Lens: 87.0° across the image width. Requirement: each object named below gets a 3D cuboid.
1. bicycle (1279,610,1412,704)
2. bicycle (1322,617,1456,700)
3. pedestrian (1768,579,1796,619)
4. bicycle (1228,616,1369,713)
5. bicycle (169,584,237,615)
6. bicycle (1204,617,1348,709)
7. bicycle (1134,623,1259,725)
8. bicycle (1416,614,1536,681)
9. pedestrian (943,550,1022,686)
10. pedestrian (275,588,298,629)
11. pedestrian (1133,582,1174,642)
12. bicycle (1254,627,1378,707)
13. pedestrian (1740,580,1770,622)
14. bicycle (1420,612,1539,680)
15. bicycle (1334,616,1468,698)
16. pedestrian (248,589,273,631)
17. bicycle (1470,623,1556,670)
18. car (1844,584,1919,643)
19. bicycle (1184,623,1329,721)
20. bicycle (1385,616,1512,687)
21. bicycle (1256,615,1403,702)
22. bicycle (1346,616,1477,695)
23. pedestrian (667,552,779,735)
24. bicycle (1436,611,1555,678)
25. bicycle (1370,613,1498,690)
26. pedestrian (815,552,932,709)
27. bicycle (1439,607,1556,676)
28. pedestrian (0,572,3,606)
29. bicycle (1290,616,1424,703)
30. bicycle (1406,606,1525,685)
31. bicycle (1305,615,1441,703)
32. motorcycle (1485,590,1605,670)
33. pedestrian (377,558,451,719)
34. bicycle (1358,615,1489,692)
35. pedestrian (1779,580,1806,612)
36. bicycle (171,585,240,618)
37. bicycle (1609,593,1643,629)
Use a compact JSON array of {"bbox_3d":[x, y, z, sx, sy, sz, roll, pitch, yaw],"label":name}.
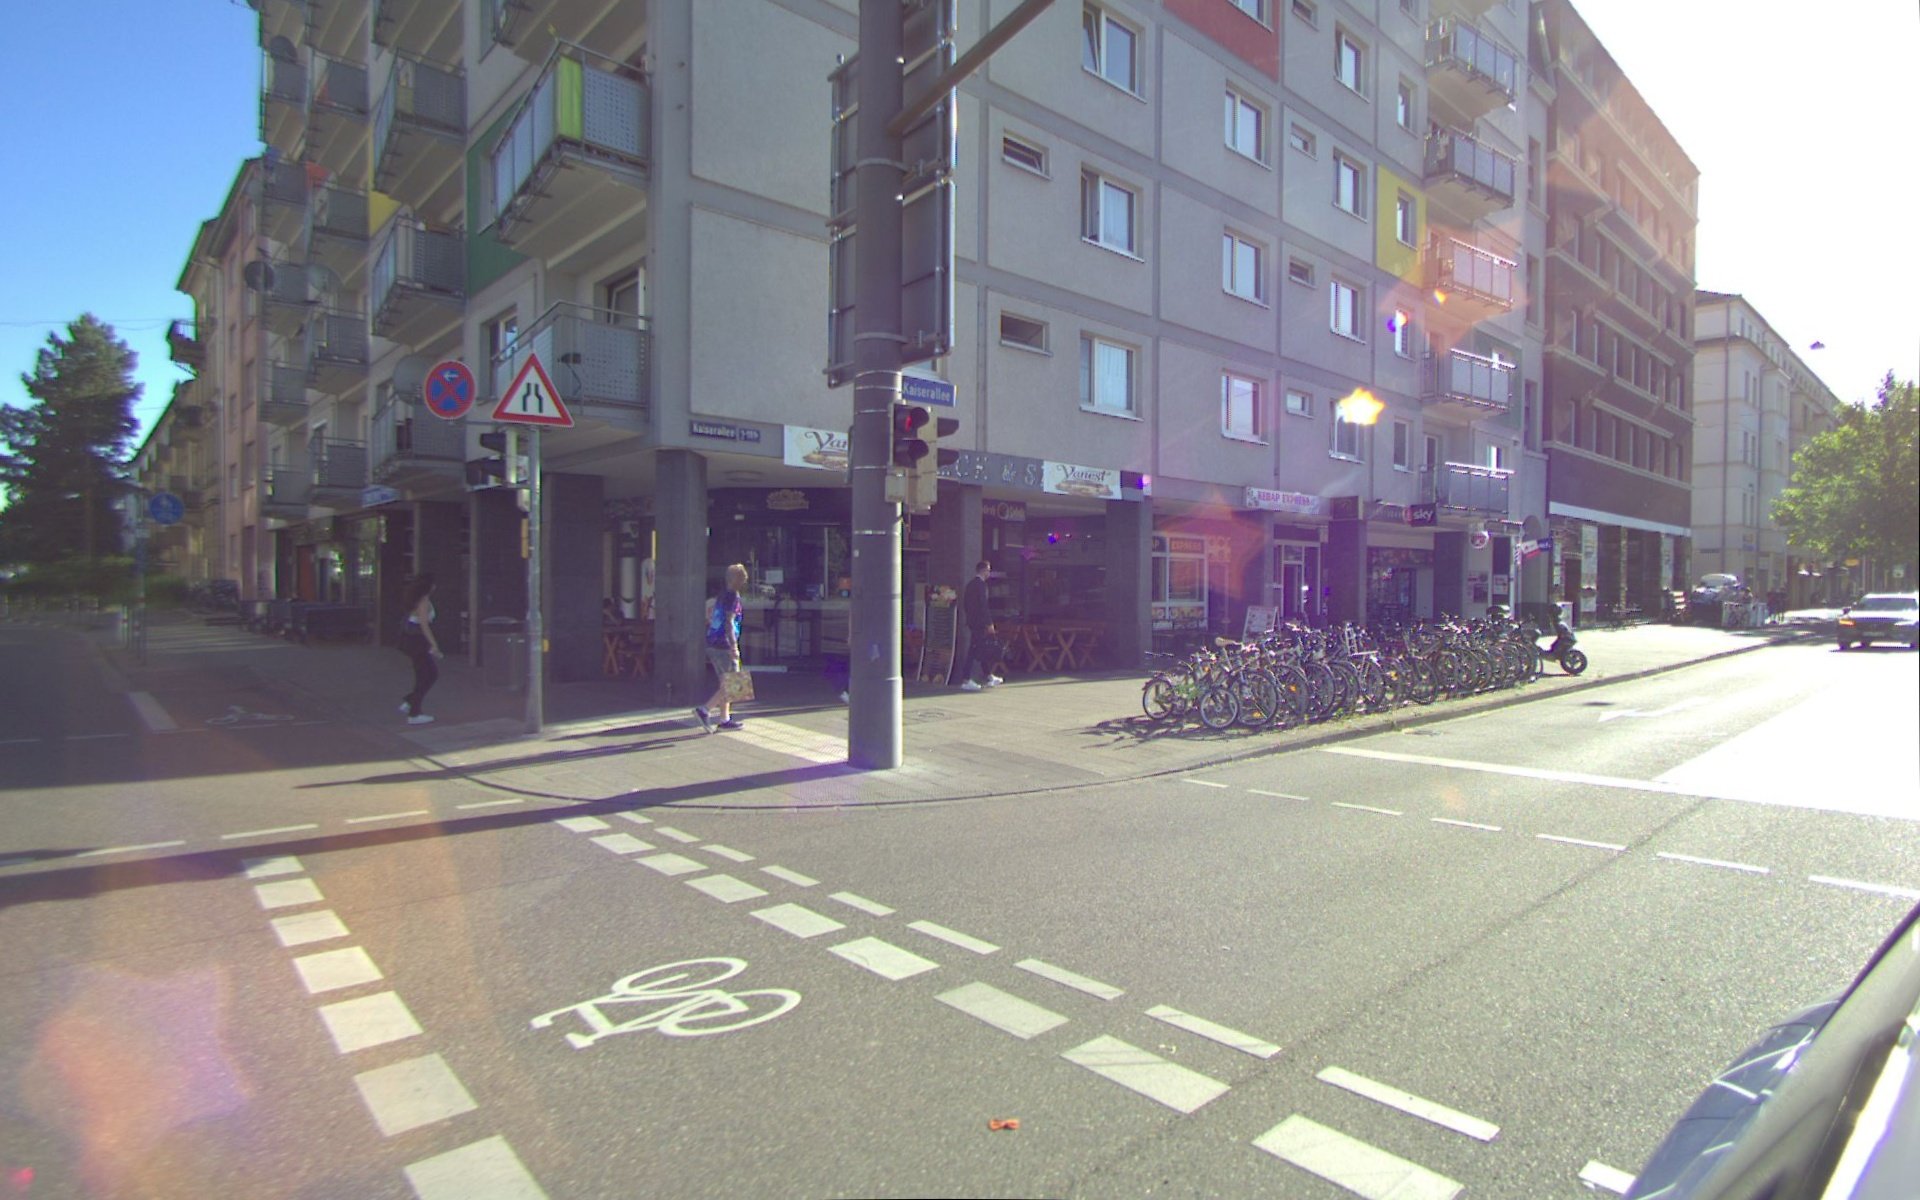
[{"bbox_3d":[5.352,0.765,14.133,0.522,1.125,1.639,-1,4,-45],"label":"bicycle"},{"bbox_3d":[6.306,0.834,14.973,0.408,1.073,1.820,-1,2,-43],"label":"bicycle"},{"bbox_3d":[40.049,-0.051,49.325,0.860,1.907,1.210,0,0,31],"label":"pedestrian"},{"bbox_3d":[4.359,0.798,13.136,0.393,1.113,1.751,-1,2,-44],"label":"bicycle"},{"bbox_3d":[-28.635,-0.024,38.321,0.680,1.004,1.906,-2,4,25],"label":"bicycle"},{"bbox_3d":[4.001,0.767,12.914,0.399,1.090,1.752,-1,0,-44],"label":"bicycle"},{"bbox_3d":[2.712,0.824,11.718,0.403,1.023,1.432,-1,2,-41],"label":"bicycle"},{"bbox_3d":[8.873,0.794,17.462,1.817,1.074,0.409,1,1,43],"label":"bicycle"},{"bbox_3d":[0.328,0.247,14.838,0.858,1.909,0.792,0,0,-36],"label":"pedestrian"},{"bbox_3d":[-19.685,0.229,29.568,0.520,1.181,0.563,0,1,-38],"label":"pedestrian"},{"bbox_3d":[4.947,0.301,25.847,0.701,1.493,0.764,0,0,-43],"label":"pedestrian"},{"bbox_3d":[4.689,0.858,13.406,0.380,0.978,1.544,-1,0,-42],"label":"bicycle"},{"bbox_3d":[31.733,0.031,40.393,0.658,1.672,0.774,0,0,-31],"label":"pedestrian"},{"bbox_3d":[9.107,0.776,17.783,1.818,1.073,0.409,1,2,44],"label":"bicycle"},{"bbox_3d":[6.616,0.826,15.266,0.408,1.073,1.819,0,2,-45],"label":"bicycle"},{"bbox_3d":[-20.090,0.275,29.053,0.551,1.181,0.549,0,1,-38],"label":"pedestrian"},{"bbox_3d":[10.582,0.880,19.391,1.344,0.774,0.562,3,3,43],"label":"bicycle"},{"bbox_3d":[28.897,0.360,31.021,4.041,1.708,1.902,-1,1,-36],"label":"car"},{"bbox_3d":[3.574,0.838,12.327,1.700,1.023,0.404,3,2,45],"label":"bicycle"},{"bbox_3d":[7.975,0.819,16.579,1.817,1.024,0.409,2,2,43],"label":"bicycle"},{"bbox_3d":[4.989,0.767,13.759,1.813,1.096,0.522,-1,0,45],"label":"bicycle"},{"bbox_3d":[6.910,0.822,15.563,1.818,1.073,0.409,2,3,44],"label":"bicycle"},{"bbox_3d":[-2.460,0.416,10.510,0.860,1.799,0.790,0,0,-44],"label":"pedestrian"},{"bbox_3d":[9.499,0.769,18.004,1.817,1.073,0.409,2,2,43],"label":"bicycle"},{"bbox_3d":[7.537,0.801,16.163,1.817,1.082,0.409,2,3,43],"label":"bicycle"},{"bbox_3d":[-1.084,0.351,12.755,1.191,1.858,0.864,0,0,-44],"label":"pedestrian"},{"bbox_3d":[10.063,0.744,18.982,1.817,1.189,0.692,1,1,43],"label":"bicycle"},{"bbox_3d":[-48.528,-0.561,50.578,0.771,1.694,0.835,-2,0,30],"label":"pedestrian"},{"bbox_3d":[5.661,0.822,14.533,0.408,1.068,1.771,-1,3,-43],"label":"bicycle"},{"bbox_3d":[8.559,0.740,17.196,1.776,1.244,0.409,1,1,43],"label":"bicycle"},{"bbox_3d":[5.979,0.820,14.738,0.398,1.127,1.820,0,2,-43],"label":"bicycle"},{"bbox_3d":[11.605,0.559,20.120,1.878,1.447,0.875,3,3,43],"label":"motorcycle"},{"bbox_3d":[-6.334,0.427,11.742,0.653,1.796,0.568,0,0,-41],"label":"pedestrian"},{"bbox_3d":[7.210,0.810,15.811,1.817,1.082,0.409,1,3,43],"label":"bicycle"},{"bbox_3d":[43.205,-0.207,52.539,0.858,1.669,0.974,0,0,25],"label":"pedestrian"},{"bbox_3d":[-27.399,0.056,36.785,0.678,1.004,1.912,-2,4,18],"label":"bicycle"},{"bbox_3d":[24.359,0.380,37.003,1.900,1.257,0.597,-1,2,-43],"label":"bicycle"}]
